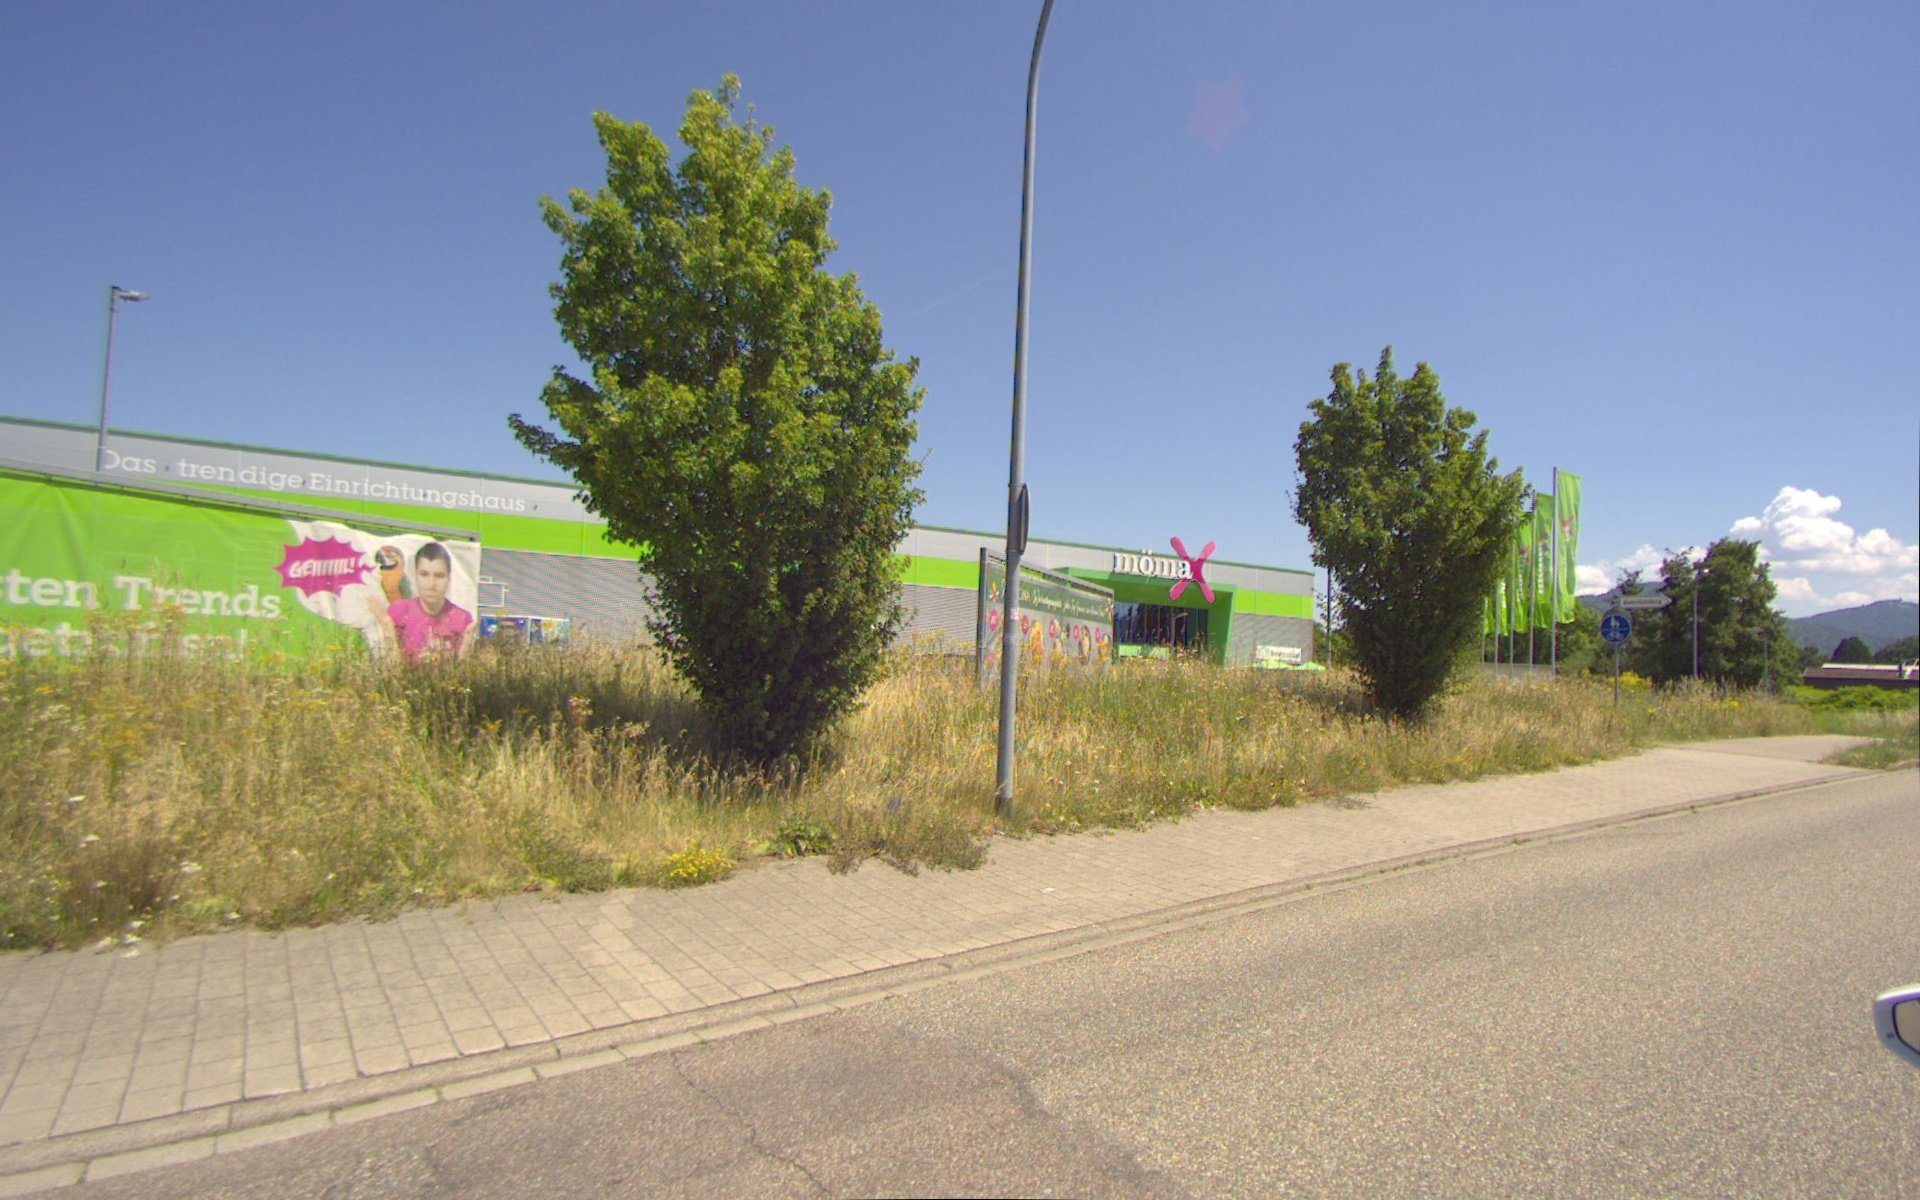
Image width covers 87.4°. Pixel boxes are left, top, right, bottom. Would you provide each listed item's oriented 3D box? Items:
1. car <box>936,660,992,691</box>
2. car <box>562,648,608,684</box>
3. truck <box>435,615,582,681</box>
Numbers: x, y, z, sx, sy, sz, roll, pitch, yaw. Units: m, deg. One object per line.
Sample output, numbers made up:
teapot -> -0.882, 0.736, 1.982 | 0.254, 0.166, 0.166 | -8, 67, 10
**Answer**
car -> 0.200, 4.988, 66.830 | 1.975, 1.784, 4.242 | 3, -1, -27
car -> -21.516, 3.782, 57.804 | 1.967, 1.795, 3.988 | 3, -1, -14
truck -> -20.627, 2.166, 46.506 | 2.903, 2.719, 7.781 | 2, -2, 2
